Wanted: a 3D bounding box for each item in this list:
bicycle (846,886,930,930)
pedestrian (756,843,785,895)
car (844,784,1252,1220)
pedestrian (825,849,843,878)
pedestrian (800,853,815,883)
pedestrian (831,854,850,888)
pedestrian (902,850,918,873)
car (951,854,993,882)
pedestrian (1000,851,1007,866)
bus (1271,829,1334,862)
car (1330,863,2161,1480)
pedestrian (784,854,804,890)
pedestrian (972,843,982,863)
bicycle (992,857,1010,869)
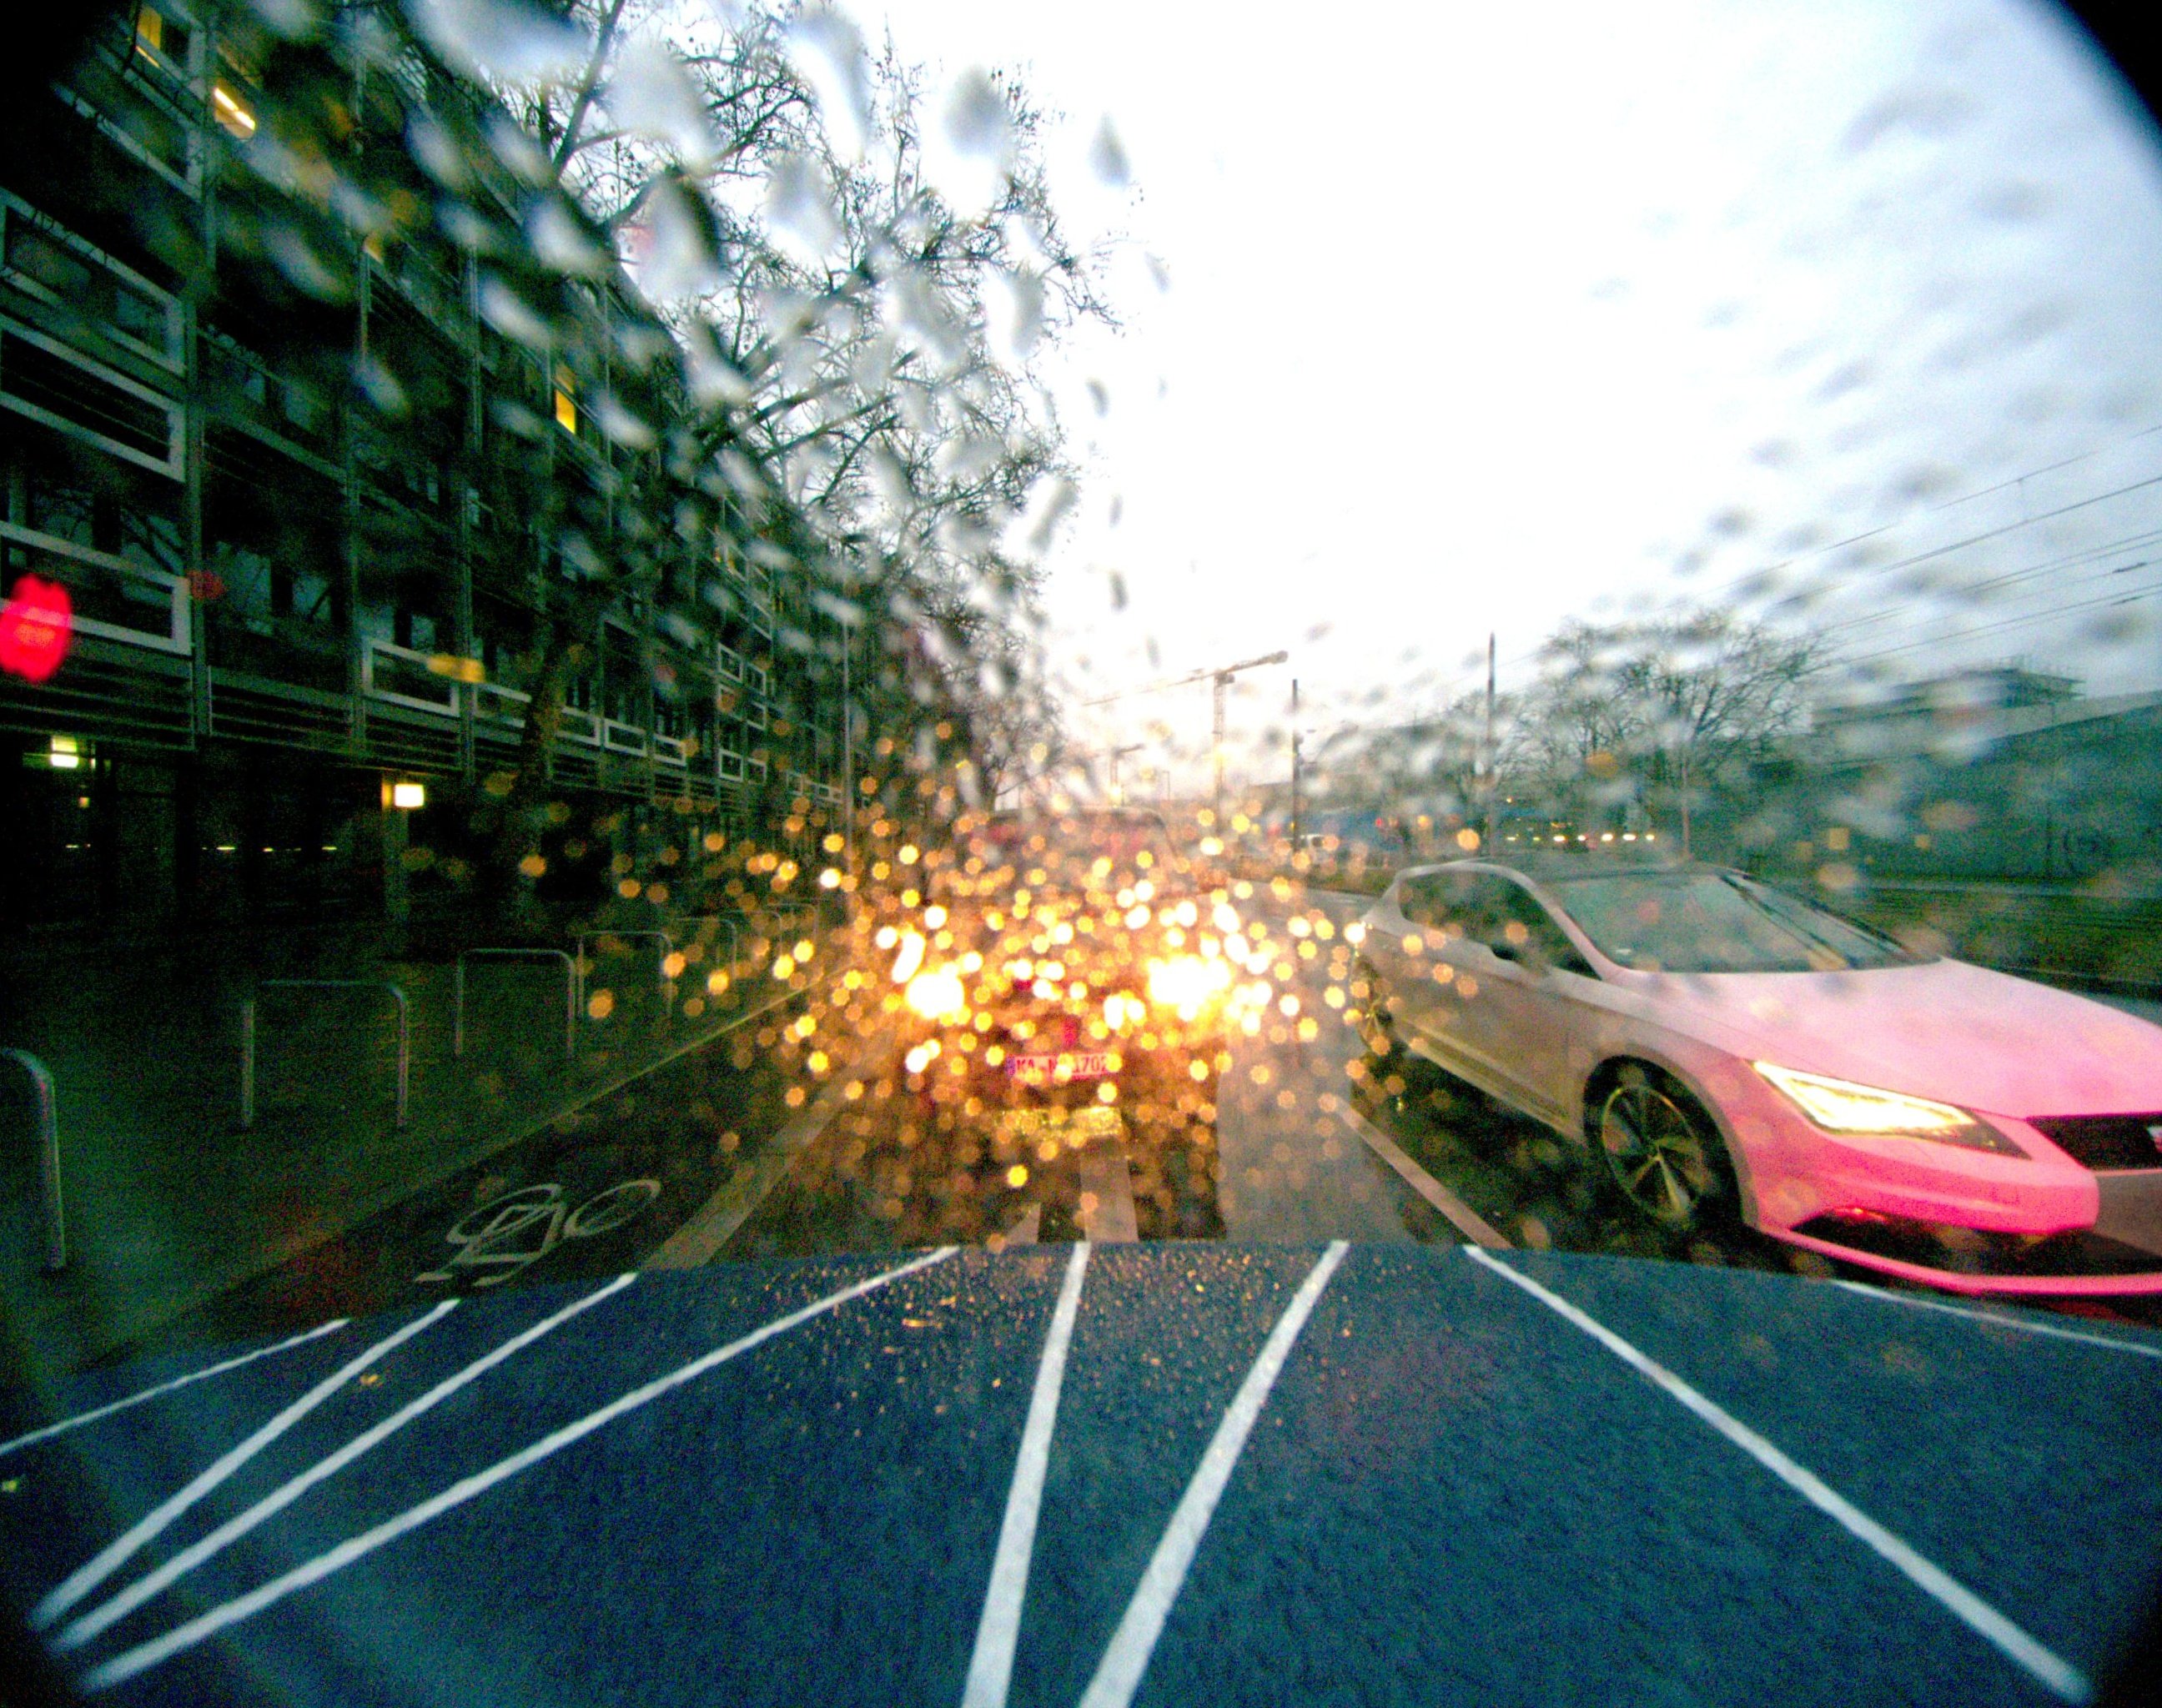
[{"bbox_3d":[-4.450,1.248,17.613,1.792,0.968,0.617,1,1,-4],"label":"bicycle"},{"bbox_3d":[-12.127,0.580,29.696,0.822,2.002,0.735,-1,1,-2],"label":"pedestrian"},{"bbox_3d":[-0.122,0.673,5.495,1.858,2.002,4.000,0,1,1],"label":"car"},{"bbox_3d":[-14.374,0.544,44.180,0.641,1.645,0.843,0,1,8],"label":"pedestrian"},{"bbox_3d":[-12.719,0.661,35.358,0.493,1.361,0.502,0,1,1],"label":"pedestrian"},{"bbox_3d":[-10.913,0.777,34.527,0.649,1.535,0.615,-1,1,1],"label":"pedestrian"},{"bbox_3d":[-11.174,0.494,49.574,0.866,1.515,0.837,-1,1,-2],"label":"pedestrian"},{"bbox_3d":[-6.172,0.787,43.381,1.608,1.424,3.930,2,1,2],"label":"car"},{"bbox_3d":[-10.718,0.619,105.660,0.838,2.002,0.771,-2,2,-1],"label":"pedestrian"},{"bbox_3d":[25.960,-1.003,89.935,2.815,3.557,12.298,-1,0,-6],"label":"bus"},{"bbox_3d":[2.968,0.838,4.038,1.778,1.466,4.128,-1,1,-2],"label":"car"},{"bbox_3d":[-13.335,0.807,35.326,0.617,1.647,0.780,-1,1,1],"label":"pedestrian"},{"bbox_3d":[-10.565,-0.122,77.148,0.791,2.002,1.024,-1,1,0],"label":"pedestrian"},{"bbox_3d":[-7.212,0.800,68.302,1.523,1.030,0.469,-2,1,-7],"label":"bicycle"}]
